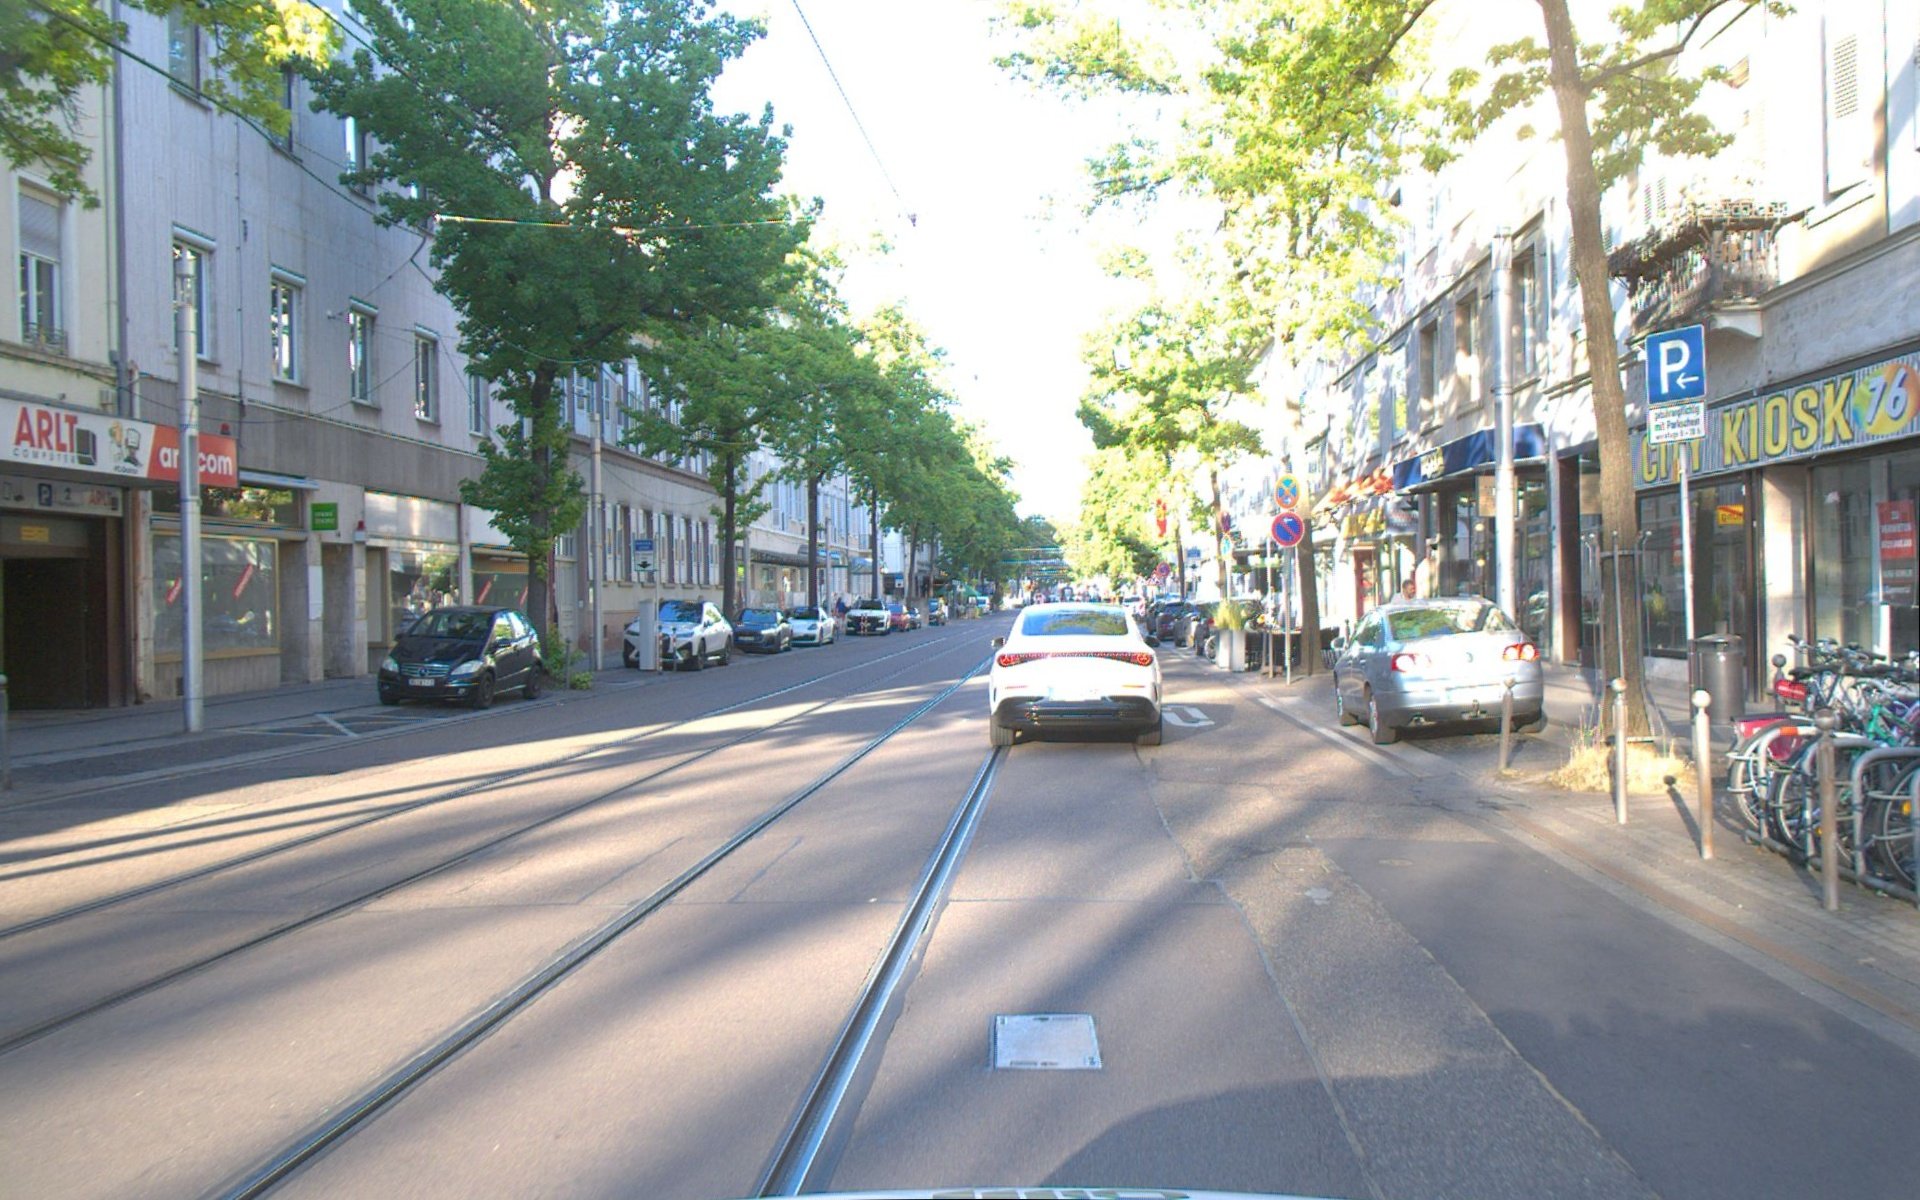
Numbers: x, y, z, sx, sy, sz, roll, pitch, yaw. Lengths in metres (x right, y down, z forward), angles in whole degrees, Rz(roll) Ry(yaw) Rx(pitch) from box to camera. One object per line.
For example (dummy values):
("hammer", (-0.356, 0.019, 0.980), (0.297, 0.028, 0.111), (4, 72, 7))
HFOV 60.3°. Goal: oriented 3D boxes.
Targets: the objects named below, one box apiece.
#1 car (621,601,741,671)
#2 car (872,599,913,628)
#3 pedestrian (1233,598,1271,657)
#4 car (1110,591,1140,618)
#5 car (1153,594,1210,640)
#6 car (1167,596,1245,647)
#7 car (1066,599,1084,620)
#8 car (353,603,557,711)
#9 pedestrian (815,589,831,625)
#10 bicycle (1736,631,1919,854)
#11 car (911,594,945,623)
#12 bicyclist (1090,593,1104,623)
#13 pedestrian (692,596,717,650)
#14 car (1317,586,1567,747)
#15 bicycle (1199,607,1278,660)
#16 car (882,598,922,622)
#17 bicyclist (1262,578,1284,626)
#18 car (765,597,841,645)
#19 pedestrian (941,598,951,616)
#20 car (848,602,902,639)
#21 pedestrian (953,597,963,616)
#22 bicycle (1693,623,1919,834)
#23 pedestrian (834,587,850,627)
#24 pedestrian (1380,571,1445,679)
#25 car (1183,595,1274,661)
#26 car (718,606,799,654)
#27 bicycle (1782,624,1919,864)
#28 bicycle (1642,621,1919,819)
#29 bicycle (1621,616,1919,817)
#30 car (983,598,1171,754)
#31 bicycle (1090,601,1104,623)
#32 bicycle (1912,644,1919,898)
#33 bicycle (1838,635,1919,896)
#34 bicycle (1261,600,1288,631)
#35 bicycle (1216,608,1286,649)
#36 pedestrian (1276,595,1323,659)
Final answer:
("car", (-7.111, 0.878, 42.705), (1.920, 1.668, 4.815), (1, 0, 4))
("car", (-3.661, 0.725, 90.017), (1.653, 1.525, 4.236), (-1, 0, 5))
("pedestrian", (6.579, 0.624, 37.335), (0.800, 1.287, 0.587), (-2, 0, 9))
("car", (11.436, 0.294, 114.838), (1.952, 1.758, 4.243), (-2, 0, 4))
("car", (8.055, 0.606, 60.315), (1.832, 1.478, 4.109), (-4, 0, 6))
("car", (7.768, 0.659, 52.451), (1.777, 1.512, 3.999), (-1, 0, -1))
("car", (14.524, 1.183, 209.277), (1.953, 2.586, 3.999), (-2, 0, -1))
("car", (-8.480, 0.906, 28.161), (1.920, 1.668, 4.002), (-1, 0, 5))
("pedestrian", (-7.093, 0.345, 85.701), (0.693, 1.838, 0.675), (-2, 0, 0))
("bicycle", (5.359, 0.763, 9.144), (1.826, 1.175, 0.563), (-2, -1, 6))
("car", (-2.155, 0.576, 111.897), (1.519, 1.827, 3.170), (-2, 0, 12))
("bicyclist", (7.885, 0.456, 95.290), (0.709, 1.732, 0.811), (-2, 0, 5))
("pedestrian", (-8.457, 0.758, 54.805), (0.671, 1.751, 0.656), (-1, 0, 4))
("car", (5.287, 0.678, 18.714), (1.739, 1.465, 4.425), (-5, -1, 4))
("bicycle", (6.615, 0.799, 39.311), (1.692, 1.158, 0.546), (-4, -1, 25))
("car", (-3.451, 0.563, 98.346), (1.952, 1.314, 4.002), (-2, 0, 4))
("bicyclist", (11.361, 0.063, 60.043), (0.625, 1.713, 0.600), (-3, 0, 2))
("car", (-5.834, 0.750, 61.952), (1.905, 1.668, 4.912), (-1, 0, 5))
("pedestrian", (-1.194, 0.623, 141.594), (0.557, 1.489, 0.650), (-2, 0, 23))
("car", (-4.073, 0.973, 80.334), (1.920, 1.721, 5.016), (-1, 0, 5))
("pedestrian", (-0.193, 0.560, 142.414), (0.510, 1.503, 0.645), (-4, -1, -23))
("bicycle", (5.388, 0.738, 9.759), (1.826, 1.175, 0.563), (-2, -1, 6))
("pedestrian", (-6.116, 0.352, 85.546), (0.692, 2.039, 0.676), (-2, 0, 2))
("pedestrian", (7.258, 0.391, 26.564), (0.786, 1.671, 0.756), (-3, 0, 4))
("car", (6.995, 0.715, 43.386), (1.763, 1.483, 3.655), (5, 0, 2))
("car", (-6.519, 0.938, 54.021), (1.921, 1.437, 4.847), (-1, 0, 1))
("bicycle", (5.294, 0.709, 8.476), (1.826, 1.175, 0.563), (-2, -1, 6))
("bicycle", (5.354, 0.744, 10.444), (1.826, 1.175, 0.563), (-2, -1, 6))
("bicycle", (5.474, 0.766, 11.022), (1.827, 1.174, 0.563), (-4, -1, 6))
("car", (1.328, 0.748, 18.208), (1.828, 1.494, 4.045), (-1, 0, 5))
("bicycle", (7.881, 0.700, 95.106), (0.725, 1.209, 2.161), (-2, 0, 5))
("bicycle", (5.230, 0.762, 7.245), (1.826, 1.175, 0.348), (-2, -1, 6))
("bicycle", (5.218, 0.744, 7.767), (1.826, 1.175, 0.563), (-2, -1, 6))
("bicycle", (11.384, 0.548, 59.936), (0.634, 1.093, 1.862), (-3, 0, 2))
("bicycle", (8.413, 0.816, 47.836), (1.819, 1.093, 0.711), (-3, 0, -6))
("pedestrian", (7.675, 0.615, 37.379), (0.701, 1.411, 0.738), (-2, 0, -34))
